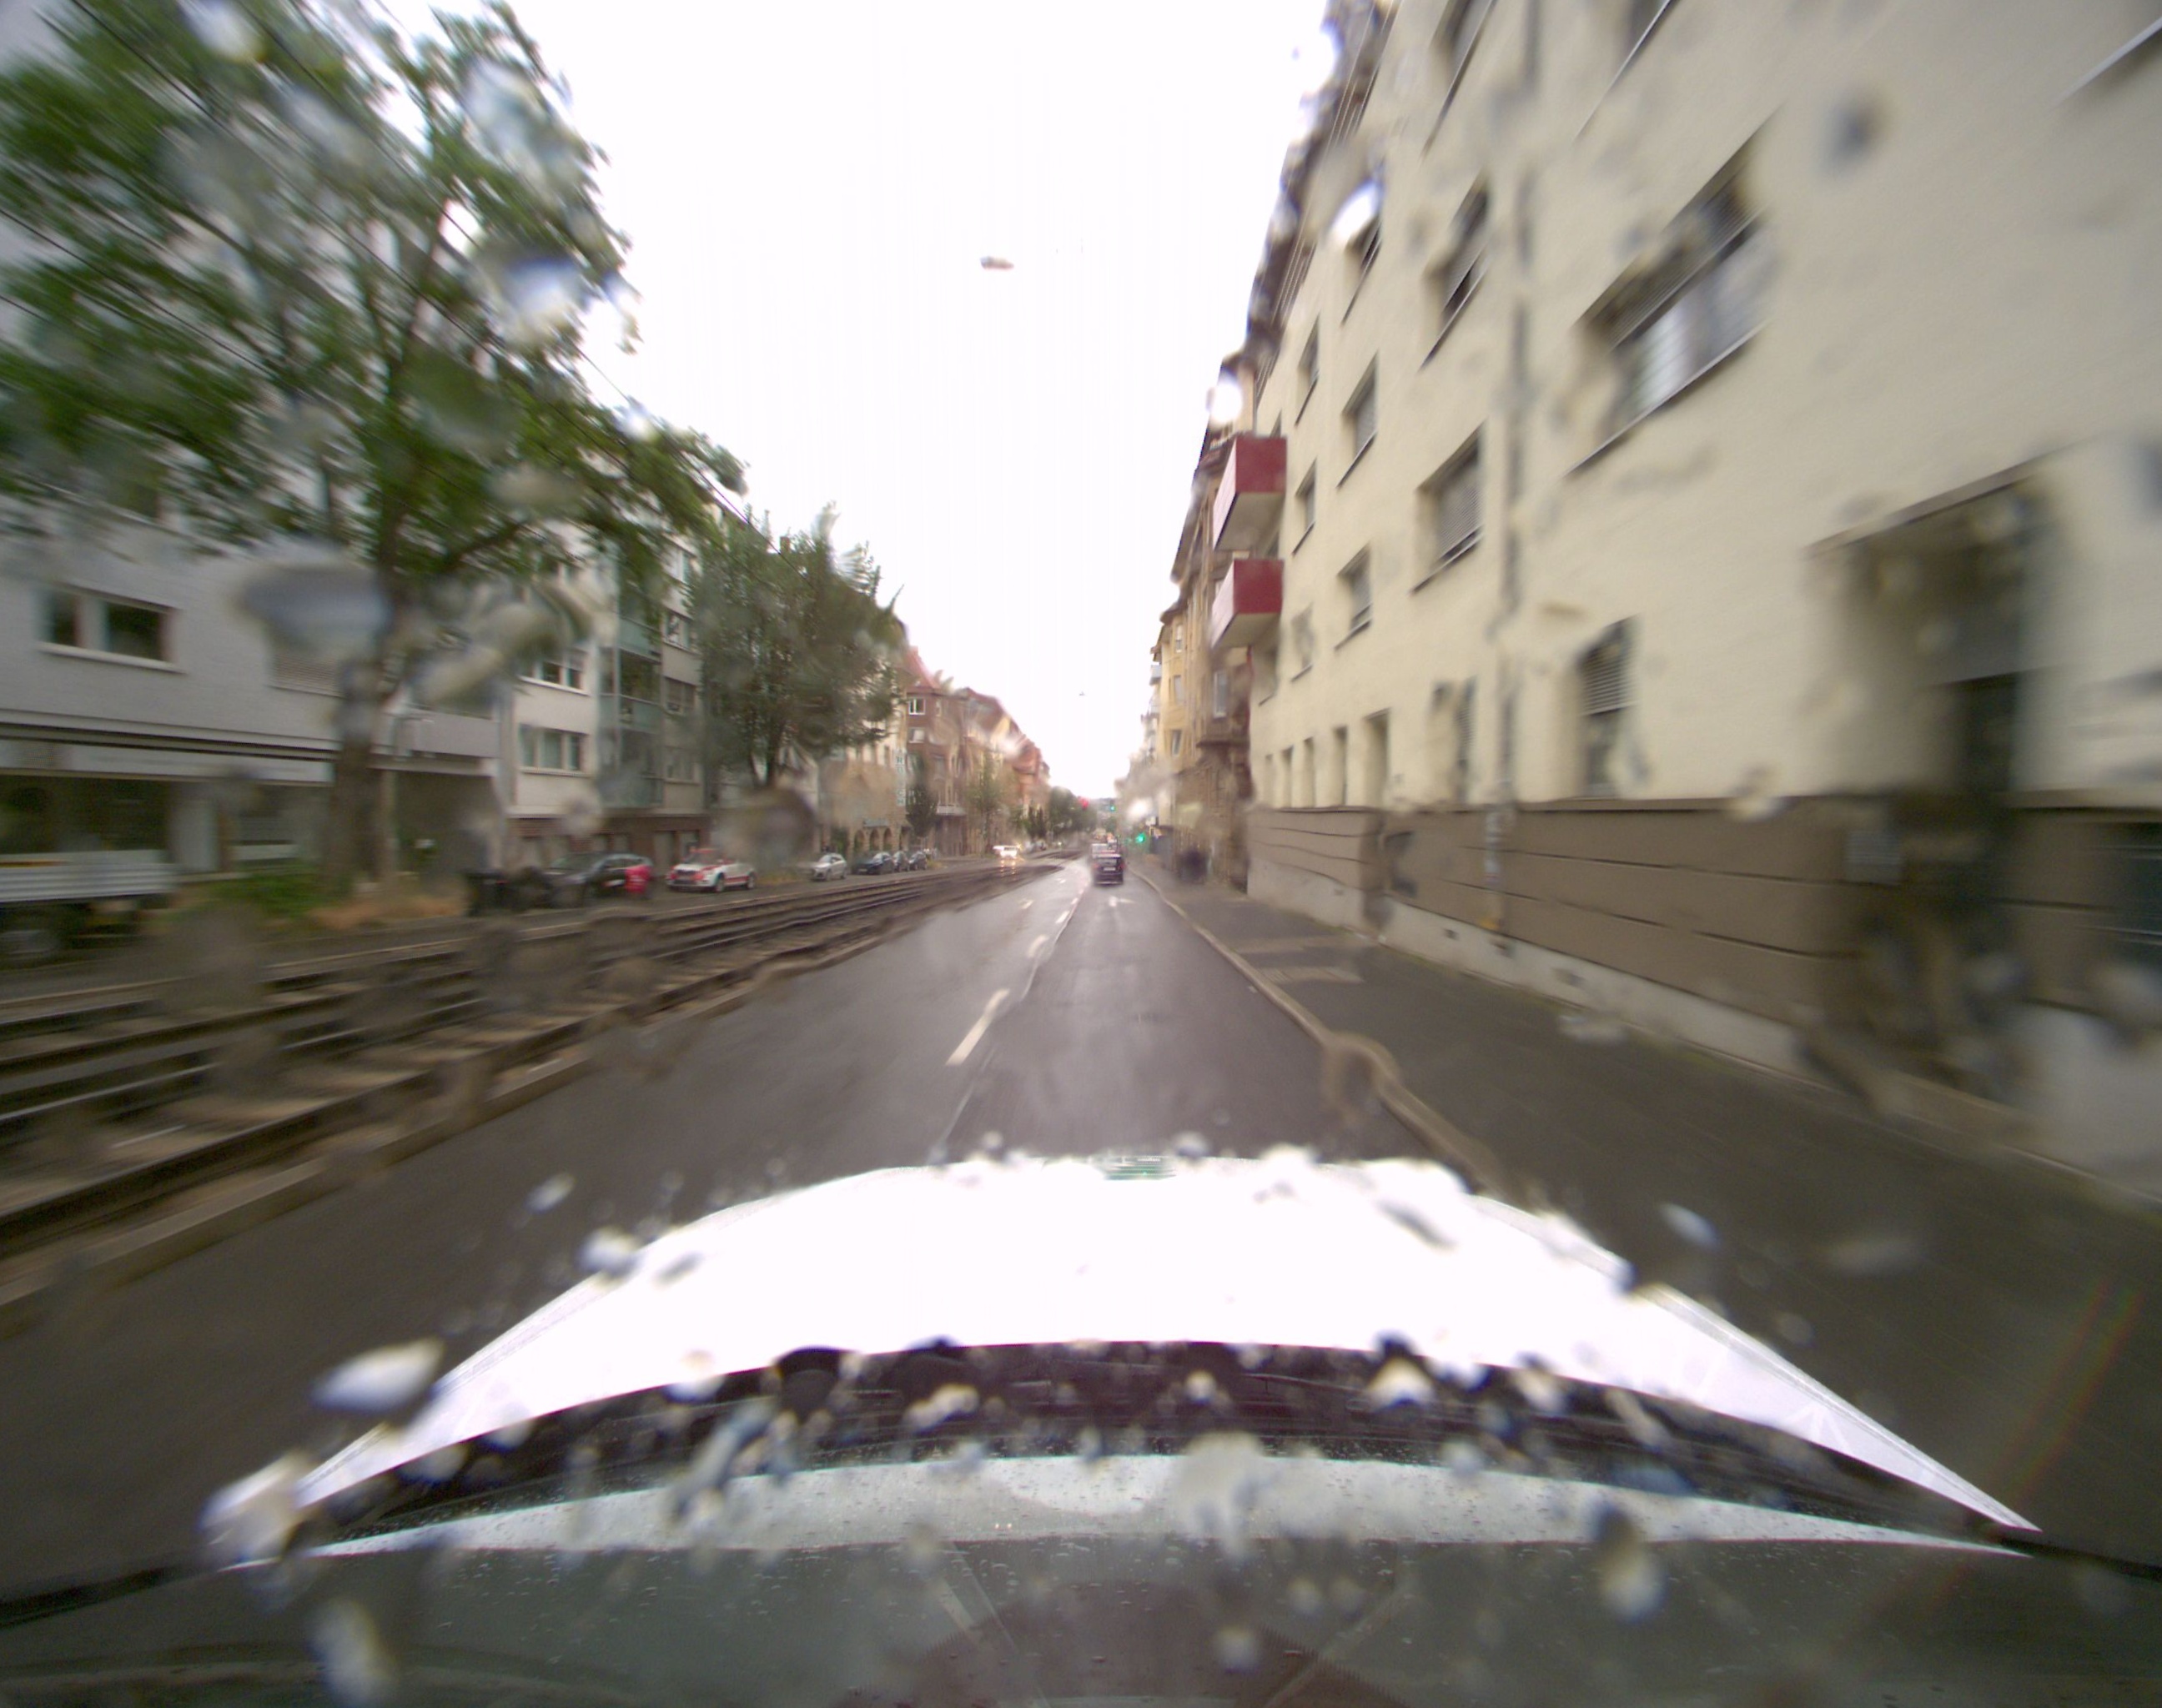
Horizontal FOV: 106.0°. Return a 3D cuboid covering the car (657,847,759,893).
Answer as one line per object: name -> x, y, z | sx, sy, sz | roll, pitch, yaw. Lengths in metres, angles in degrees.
car -> -13.657, 0.518, 30.074 | 1.770, 1.569, 4.160 | 0, 0, 1

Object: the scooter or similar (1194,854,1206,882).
scooter or similar -> 4.920, 0.573, 33.602 | 0.209, 1.112, 0.889 | -2, -1, -8

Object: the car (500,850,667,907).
car -> -13.866, 0.613, 23.059 | 1.899, 1.440, 4.470 | 0, 0, 1

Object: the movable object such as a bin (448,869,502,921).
movable object such as a bin -> -13.798, 0.920, 18.554 | 0.723, 1.121, 0.670 | -1, 0, -4

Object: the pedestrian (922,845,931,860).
pedestrian -> -14.402, -0.118, 75.942 | 0.751, 1.421, 0.646 | 0, 0, 3

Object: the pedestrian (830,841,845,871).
pedestrian -> -14.852, 0.119, 49.660 | 0.671, 1.772, 0.783 | 0, 0, 2

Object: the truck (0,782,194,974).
truck -> -14.396, 0.290, 8.881 | 2.182, 2.346, 6.359 | -1, -1, 4

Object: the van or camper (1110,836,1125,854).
van or camper -> 5.208, -1.334, 117.216 | 2.056, 2.469, 6.123 | 0, 1, 2

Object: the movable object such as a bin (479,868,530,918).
movable object such as a bin -> -13.627, 0.918, 19.273 | 0.723, 1.121, 0.670 | -1, 0, -4

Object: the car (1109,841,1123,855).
car -> 4.685, -0.771, 108.603 | 1.762, 1.808, 4.485 | 1, 1, 2

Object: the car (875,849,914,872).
car -> -12.707, 0.423, 55.678 | 1.800, 1.498, 3.527 | 0, 1, 1

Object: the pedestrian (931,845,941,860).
pedestrian -> -13.546, -0.170, 76.115 | 0.751, 1.421, 0.646 | 0, 0, 3

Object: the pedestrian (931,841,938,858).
pedestrian -> -13.702, -0.405, 76.154 | 0.514, 1.570, 0.645 | -1, 0, 7

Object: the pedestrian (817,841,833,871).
pedestrian -> -15.618, 0.126, 49.673 | 0.671, 1.772, 0.783 | 0, 0, 2

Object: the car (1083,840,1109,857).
car -> 1.537, -0.581, 83.187 | 1.921, 1.655, 3.987 | 1, 0, -9

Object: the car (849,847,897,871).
car -> -12.808, 0.278, 50.410 | 1.794, 1.455, 4.432 | 0, 0, 1

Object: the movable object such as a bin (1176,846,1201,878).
movable object such as a bin -> 5.020, 0.353, 38.198 | 1.005, 1.451, 1.394 | -2, 0, 2

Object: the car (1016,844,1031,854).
car -> -9.566, -0.921, 136.097 | 1.776, 1.589, 4.358 | -1, 1, 5

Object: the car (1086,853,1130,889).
car -> 1.231, 0.763, 38.097 | 1.939, 1.564, 3.643 | -1, 0, 1

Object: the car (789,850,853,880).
car -> -13.155, 0.525, 41.446 | 1.695, 1.335, 4.133 | 2, 1, 2

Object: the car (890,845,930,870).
car -> -12.642, 0.235, 60.389 | 1.878, 1.727, 3.744 | 3, 1, 3

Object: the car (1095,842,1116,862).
car -> 1.933, -0.180, 63.250 | 1.529, 1.510, 4.003 | 1, 1, 2

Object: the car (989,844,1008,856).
car -> -10.739, -0.556, 106.130 | 1.758, 1.486, 4.003 | 0, 0, 3

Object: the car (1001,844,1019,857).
car -> -8.154, -0.394, 93.697 | 1.620, 1.482, 3.584 | 0, 0, 3
